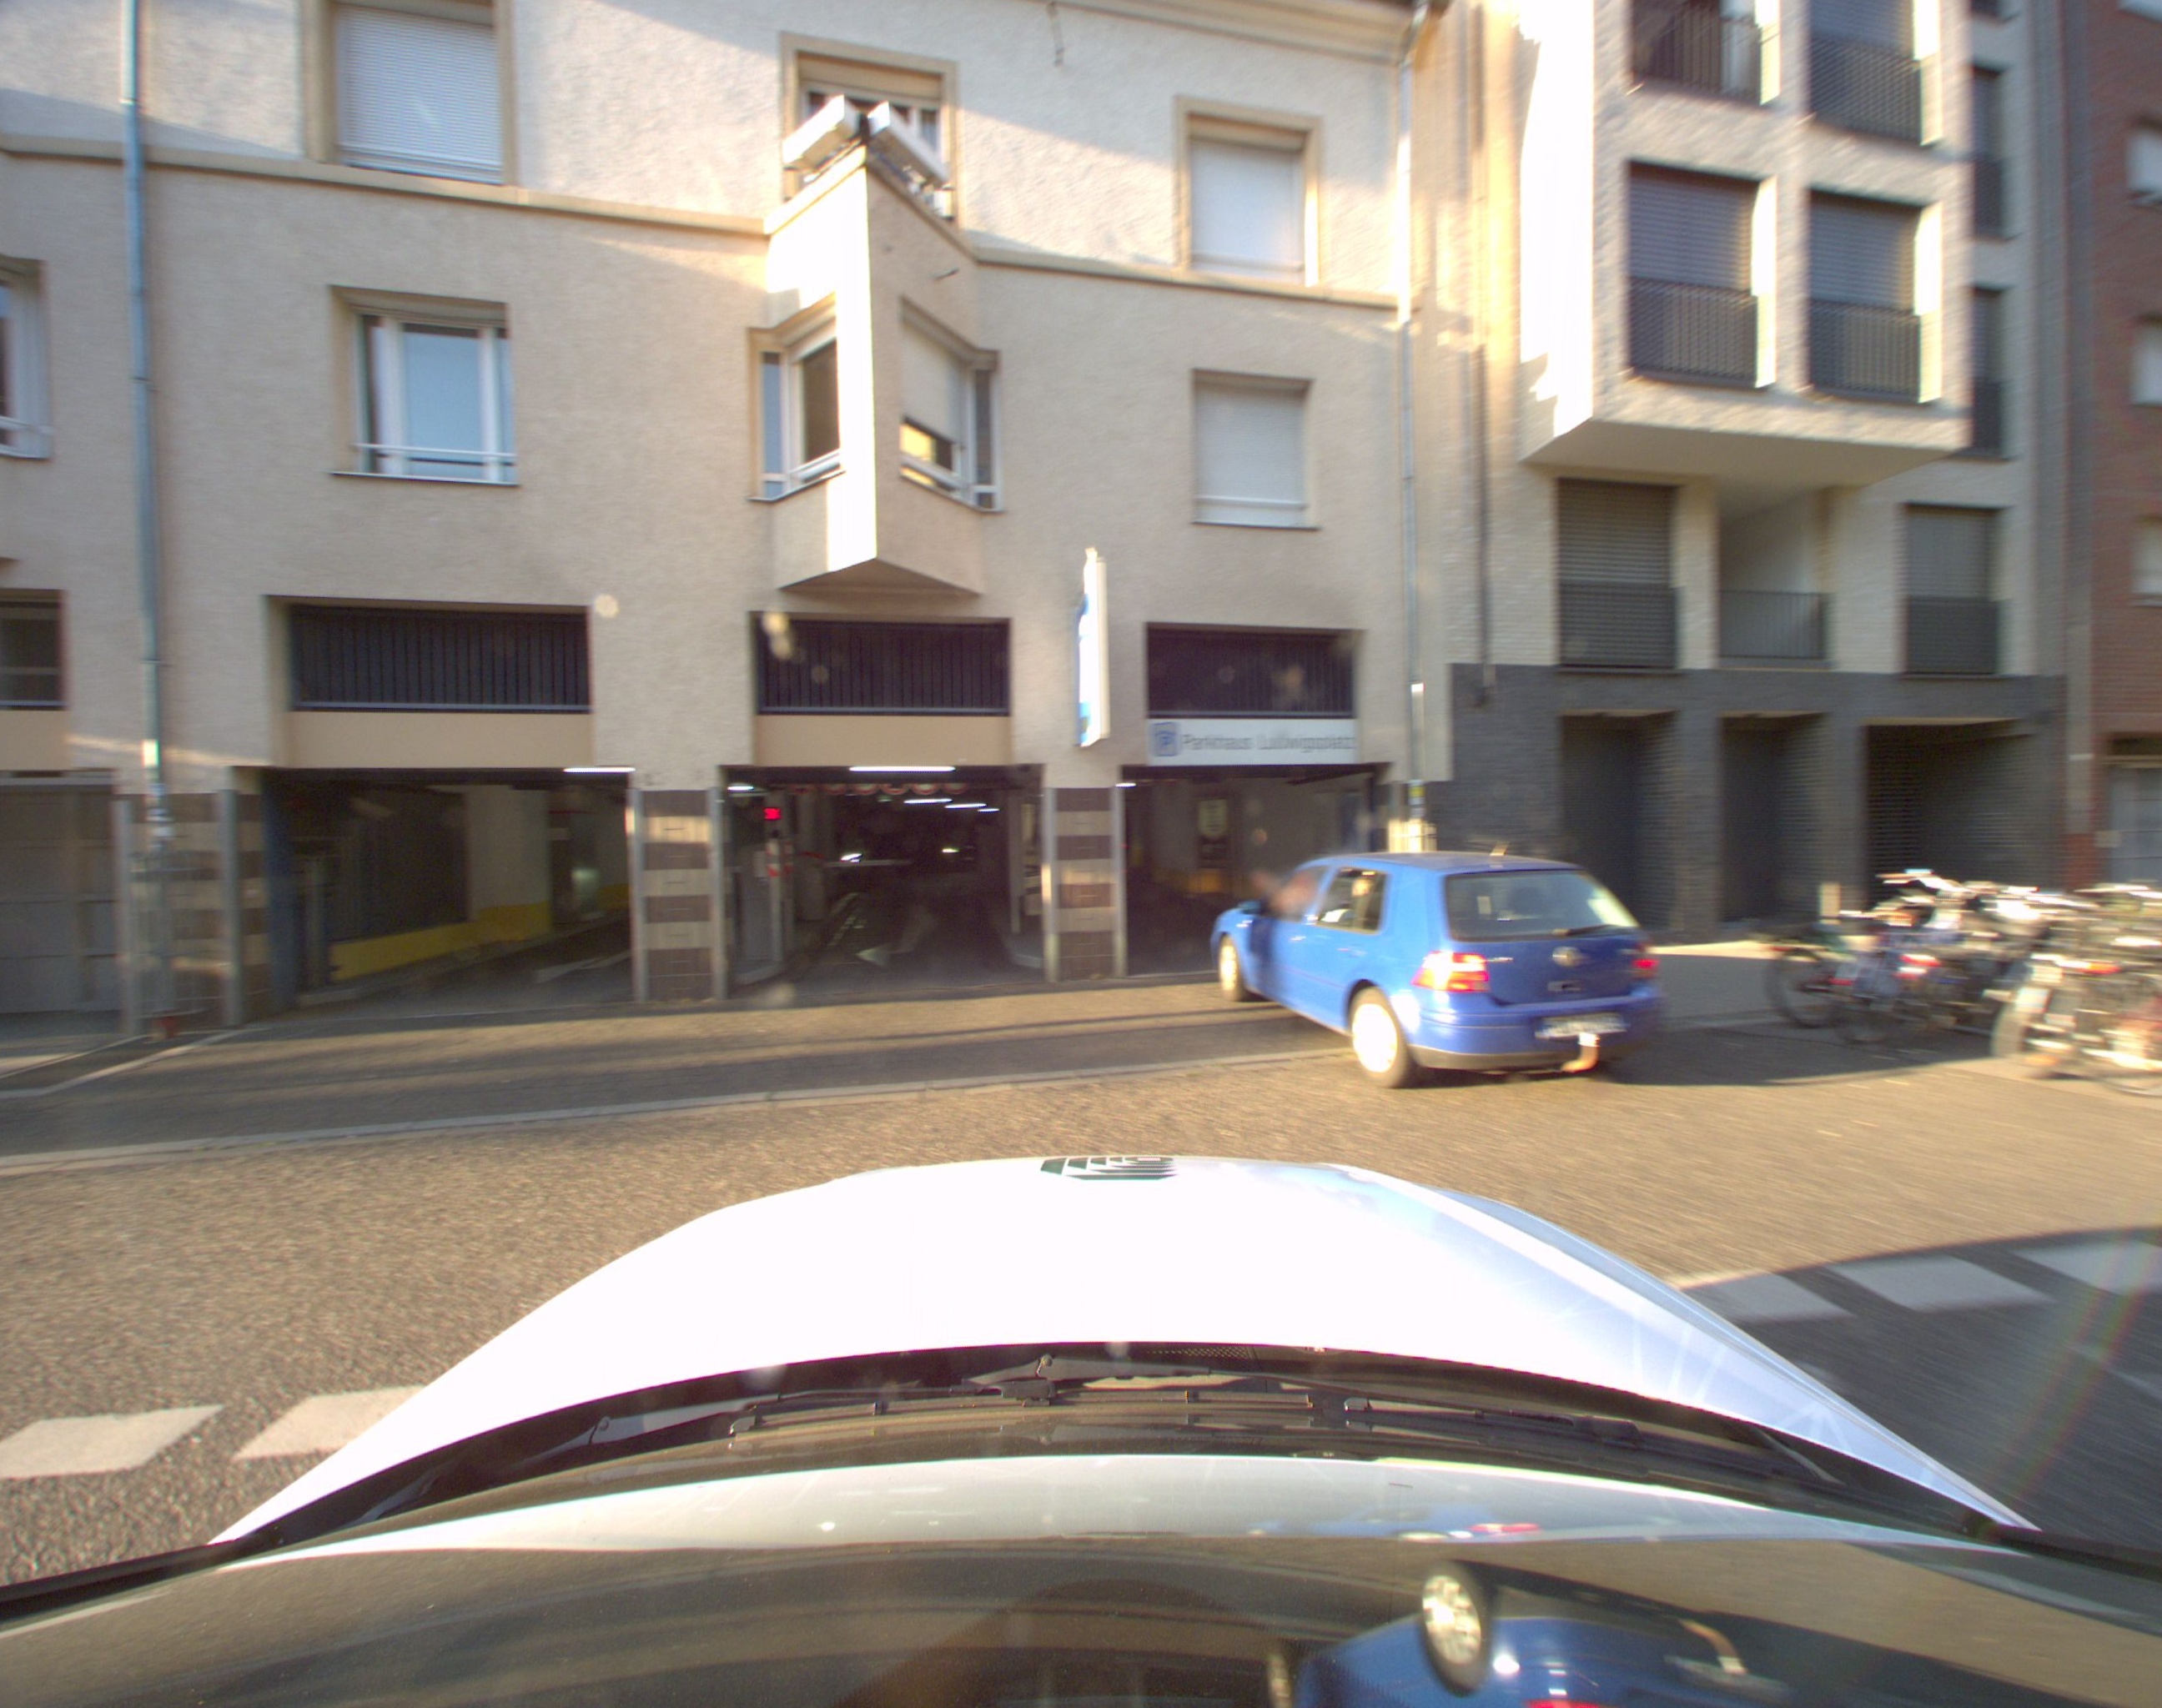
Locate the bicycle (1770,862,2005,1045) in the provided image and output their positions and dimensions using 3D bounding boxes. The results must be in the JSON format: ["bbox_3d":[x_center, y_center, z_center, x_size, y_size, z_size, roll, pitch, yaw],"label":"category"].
[{"bbox_3d":[5.784,0.680,5.849,1.547,1.189,0.386,-2,1,-10],"label":"bicycle"}]

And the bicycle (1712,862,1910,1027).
[{"bbox_3d":[5.717,0.676,6.387,1.401,1.183,0.387,-1,1,-10],"label":"bicycle"}]

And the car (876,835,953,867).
[{"bbox_3d":[-7.972,-0.174,38.825,3.832,1.391,1.619,1,3,43],"label":"car"}]

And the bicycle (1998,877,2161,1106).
[{"bbox_3d":[6.056,0.724,4.548,1.545,1.156,0.417,-1,1,-6],"label":"bicycle"}]

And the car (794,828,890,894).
[{"bbox_3d":[-6.410,0.164,22.290,1.811,1.573,4.240,-2,0,-7],"label":"car"}]

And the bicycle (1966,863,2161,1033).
[{"bbox_3d":[7.562,0.672,6.132,1.547,1.144,0.467,-2,1,-10],"label":"bicycle"}]

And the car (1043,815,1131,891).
[{"bbox_3d":[0.049,-0.100,19.843,1.555,1.617,3.871,-2,2,-8],"label":"car"}]

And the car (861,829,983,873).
[{"bbox_3d":[-6.246,-0.113,32.110,4.254,1.624,1.899,-1,1,15],"label":"car"}]

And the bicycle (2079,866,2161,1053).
[{"bbox_3d":[7.567,0.664,5.422,1.547,1.149,0.487,-2,1,-10],"label":"bicycle"}]

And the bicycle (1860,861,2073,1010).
[{"bbox_3d":[7.394,0.650,6.814,1.547,1.131,0.457,-2,1,-10],"label":"bicycle"}]

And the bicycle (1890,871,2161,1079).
[{"bbox_3d":[5.899,0.715,5.094,1.547,1.159,0.380,-2,1,-10],"label":"bicycle"}]

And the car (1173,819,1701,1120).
[{"bbox_3d":[2.266,0.598,6.492,1.691,1.563,4.098,-1,0,-14],"label":"car"}]
